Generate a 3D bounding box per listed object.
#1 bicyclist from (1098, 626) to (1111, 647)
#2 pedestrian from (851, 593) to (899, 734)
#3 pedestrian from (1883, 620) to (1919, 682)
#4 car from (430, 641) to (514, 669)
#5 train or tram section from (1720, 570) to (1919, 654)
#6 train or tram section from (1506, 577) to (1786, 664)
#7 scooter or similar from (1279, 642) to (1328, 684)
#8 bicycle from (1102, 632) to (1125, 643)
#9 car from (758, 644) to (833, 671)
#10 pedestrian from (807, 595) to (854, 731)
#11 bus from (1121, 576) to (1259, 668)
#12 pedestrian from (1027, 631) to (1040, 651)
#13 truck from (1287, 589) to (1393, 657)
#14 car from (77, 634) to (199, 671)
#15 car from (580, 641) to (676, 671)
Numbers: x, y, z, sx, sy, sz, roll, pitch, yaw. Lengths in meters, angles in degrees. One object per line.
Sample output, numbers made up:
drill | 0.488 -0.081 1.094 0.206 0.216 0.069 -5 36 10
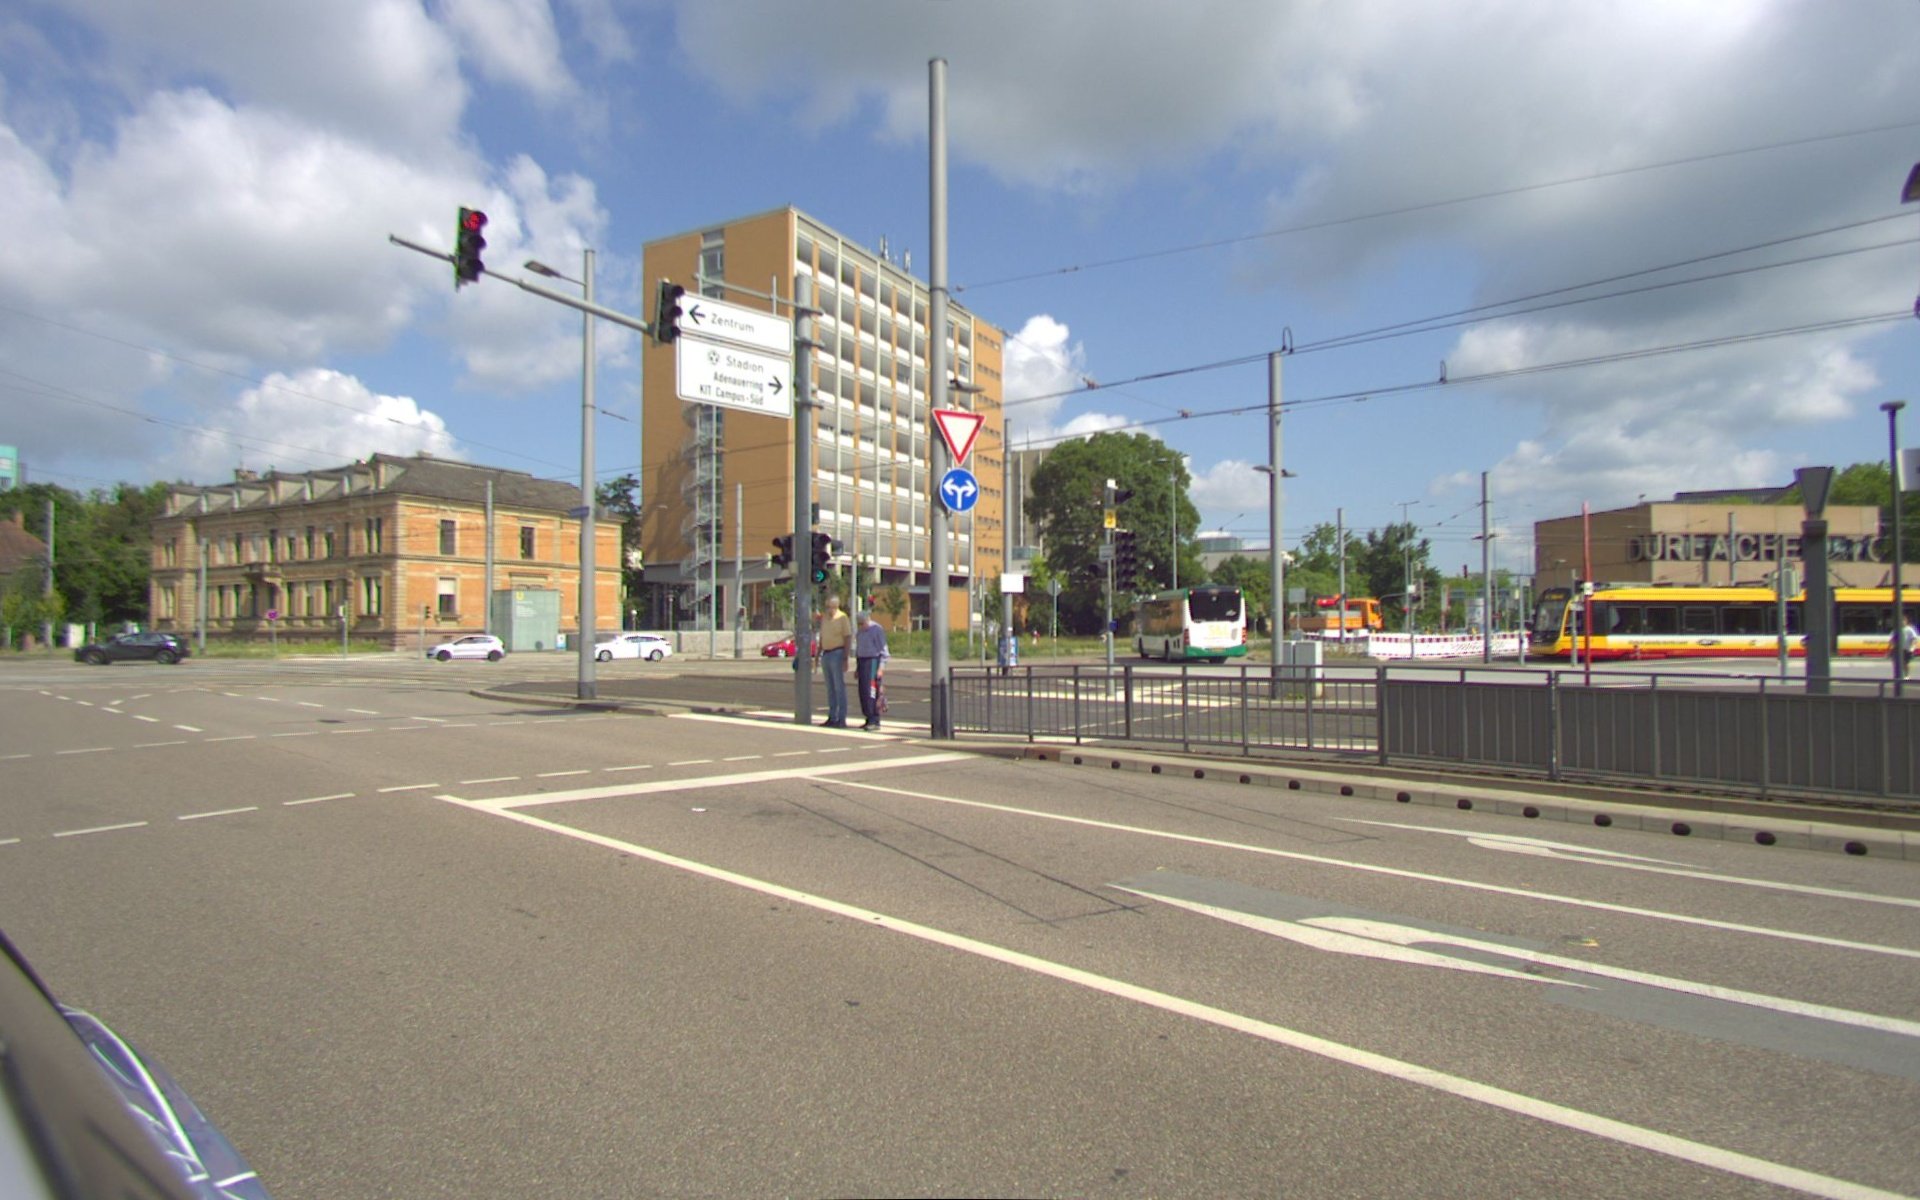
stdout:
bicyclist | 11.902 3.027 83.295 0.921 1.684 0.581 -1 -1 -19
pedestrian | -1.256 0.925 14.983 0.514 2.029 0.498 -2 -2 30
pedestrian | 26.323 1.411 28.048 0.709 1.685 0.783 0 -2 -9
car | -26.065 2.937 54.068 4.008 1.396 1.593 0 -4 -27
train or tram section | 41.367 0.558 46.505 10.448 3.507 3.327 -2 -3 -4
train or tram section | 30.897 0.975 45.836 10.448 3.507 3.327 -2 -3 -4
scooter or similar | 9.776 1.773 28.786 1.164 1.175 0.804 -1 -2 33
bicycle | 12.634 3.062 83.312 1.778 0.881 0.763 1 0 -19
car | -9.626 3.362 59.353 3.997 1.479 1.651 0 -4 -34
pedestrian | -1.968 0.945 15.420 0.576 2.029 0.422 -2 -2 30
bus | 10.101 1.077 46.313 2.873 3.648 12.384 0 -2 -3
pedestrian | 5.963 3.307 81.783 0.947 1.590 0.766 -1 -2 13
truck | 24.161 1.485 64.158 7.947 4.039 2.841 2 -3 -42
car | -38.537 2.461 47.558 4.139 1.588 1.652 0 -4 -26
car | -17.855 3.008 54.471 4.595 1.440 1.768 0 -4 -31
